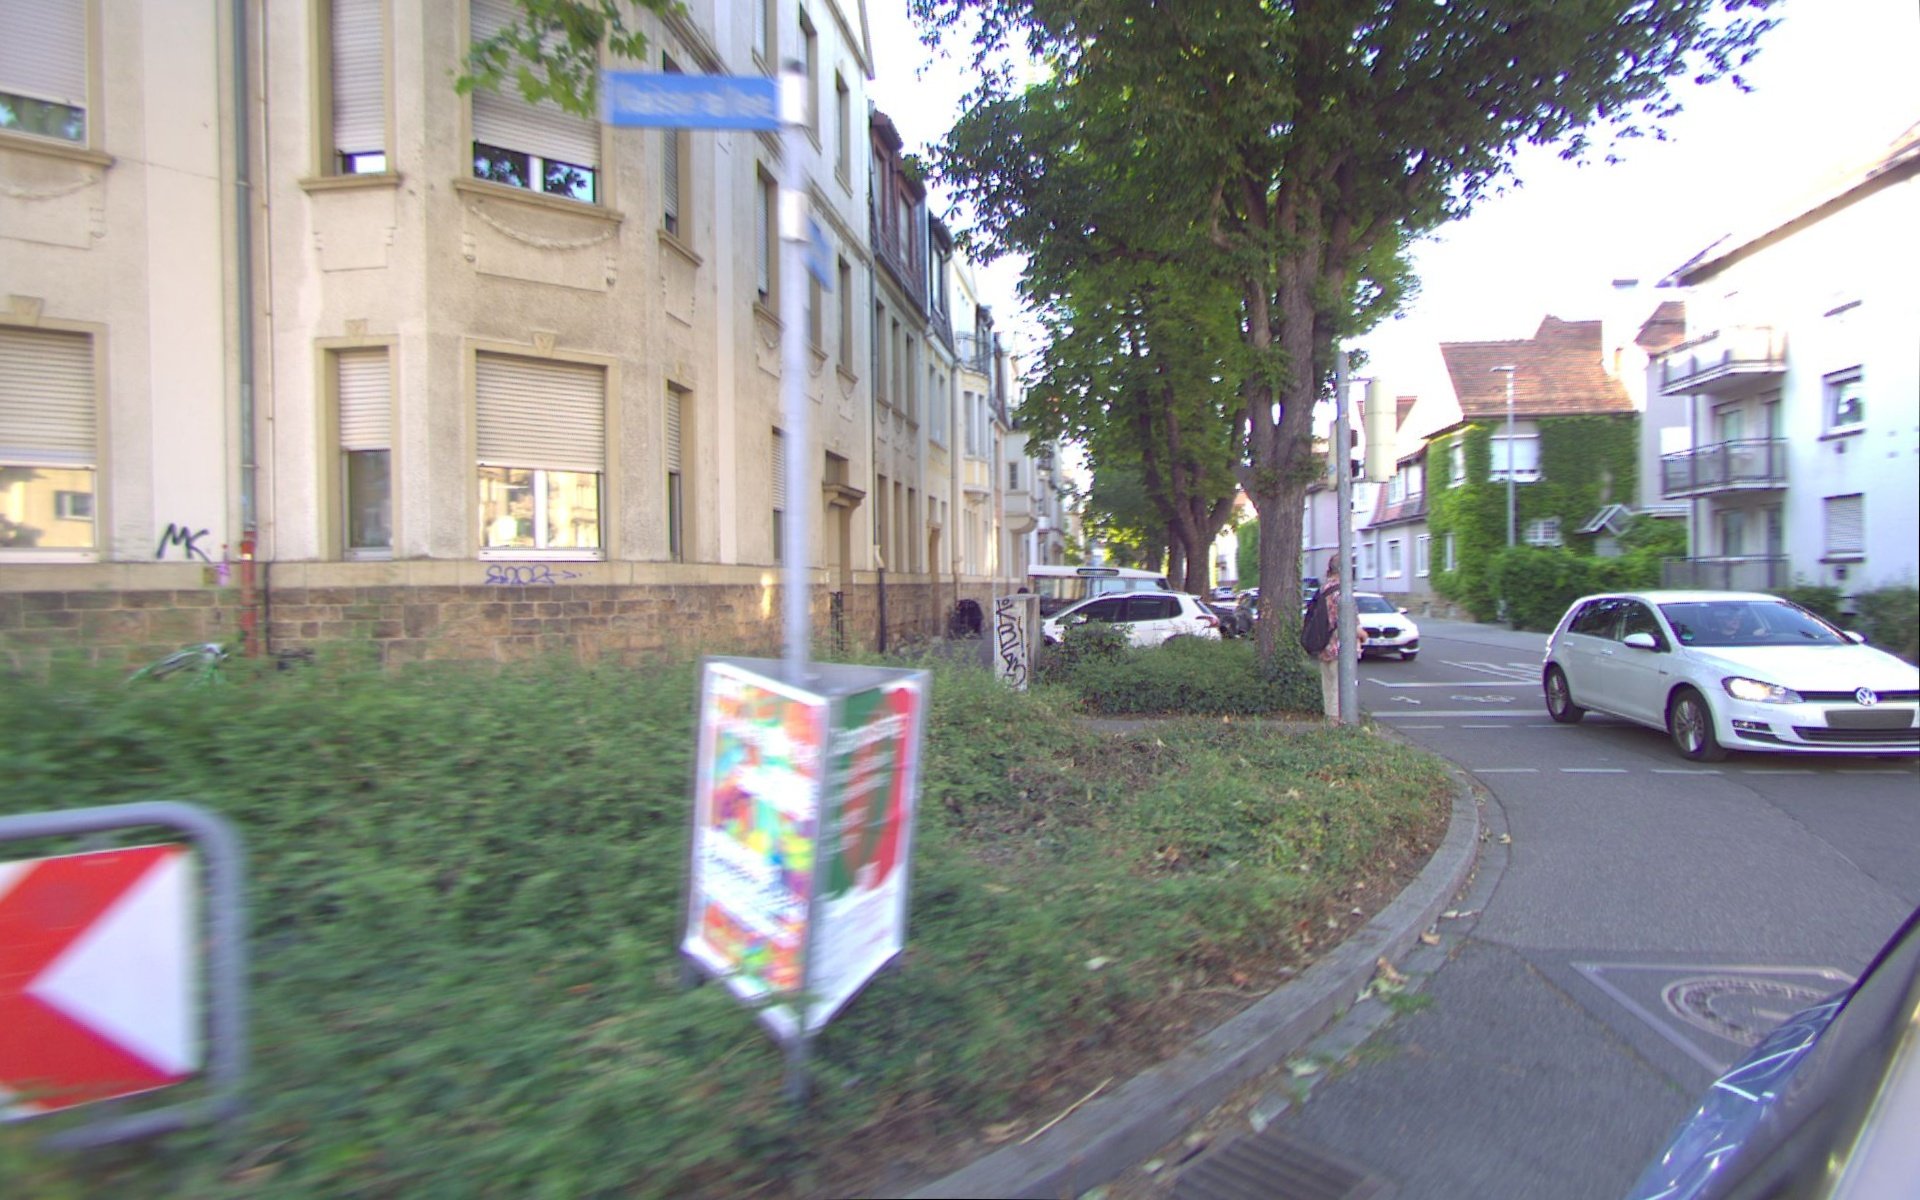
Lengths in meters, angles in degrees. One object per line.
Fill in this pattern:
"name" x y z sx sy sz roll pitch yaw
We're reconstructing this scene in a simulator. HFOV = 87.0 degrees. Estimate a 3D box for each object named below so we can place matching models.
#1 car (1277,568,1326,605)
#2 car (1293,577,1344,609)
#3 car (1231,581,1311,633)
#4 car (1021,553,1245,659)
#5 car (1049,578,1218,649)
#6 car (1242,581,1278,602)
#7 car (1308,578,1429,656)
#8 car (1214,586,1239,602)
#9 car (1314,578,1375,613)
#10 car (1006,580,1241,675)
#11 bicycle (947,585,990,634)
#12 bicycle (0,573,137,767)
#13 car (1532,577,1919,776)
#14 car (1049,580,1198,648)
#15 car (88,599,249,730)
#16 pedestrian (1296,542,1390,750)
"car" 18.877 -0.745 56.067 1.792 1.929 4.279 -2 1 8
"car" 18.175 -0.384 51.457 1.666 1.472 3.991 -2 1 8
"car" 10.259 0.181 33.745 1.814 1.536 4.743 -2 1 9
"car" 3.517 0.079 20.888 4.362 2.008 1.756 0 4 10
"car" 4.455 0.330 26.419 4.140 1.649 1.969 -2 1 8
"car" 21.644 -0.647 73.158 1.792 1.445 4.279 -2 1 8
"car" 9.007 0.315 22.612 1.816 1.536 4.008 -2 1 13
"car" 25.929 -0.557 98.614 1.792 1.445 4.279 -2 1 8
"car" 17.090 -0.223 45.184 1.666 1.472 3.991 -2 1 8
"car" 2.888 0.456 18.219 3.980 1.595 1.680 0 0 8
"bicycle" 0.250 0.232 28.744 0.750 1.301 2.195 1 1 13
"bicycle" -8.350 0.584 7.755 3.102 1.490 0.952 -3 1 -38
"car" 7.329 0.550 9.706 1.814 1.468 4.102 -2 1 9
"car" 5.312 0.433 33.180 4.633 2.039 1.996 -2 1 8
"car" -6.913 0.529 8.912 1.045 0.959 0.927 -2 5 -36
"pedestrian" 3.506 0.403 9.309 0.692 1.829 0.663 -2 1 15
